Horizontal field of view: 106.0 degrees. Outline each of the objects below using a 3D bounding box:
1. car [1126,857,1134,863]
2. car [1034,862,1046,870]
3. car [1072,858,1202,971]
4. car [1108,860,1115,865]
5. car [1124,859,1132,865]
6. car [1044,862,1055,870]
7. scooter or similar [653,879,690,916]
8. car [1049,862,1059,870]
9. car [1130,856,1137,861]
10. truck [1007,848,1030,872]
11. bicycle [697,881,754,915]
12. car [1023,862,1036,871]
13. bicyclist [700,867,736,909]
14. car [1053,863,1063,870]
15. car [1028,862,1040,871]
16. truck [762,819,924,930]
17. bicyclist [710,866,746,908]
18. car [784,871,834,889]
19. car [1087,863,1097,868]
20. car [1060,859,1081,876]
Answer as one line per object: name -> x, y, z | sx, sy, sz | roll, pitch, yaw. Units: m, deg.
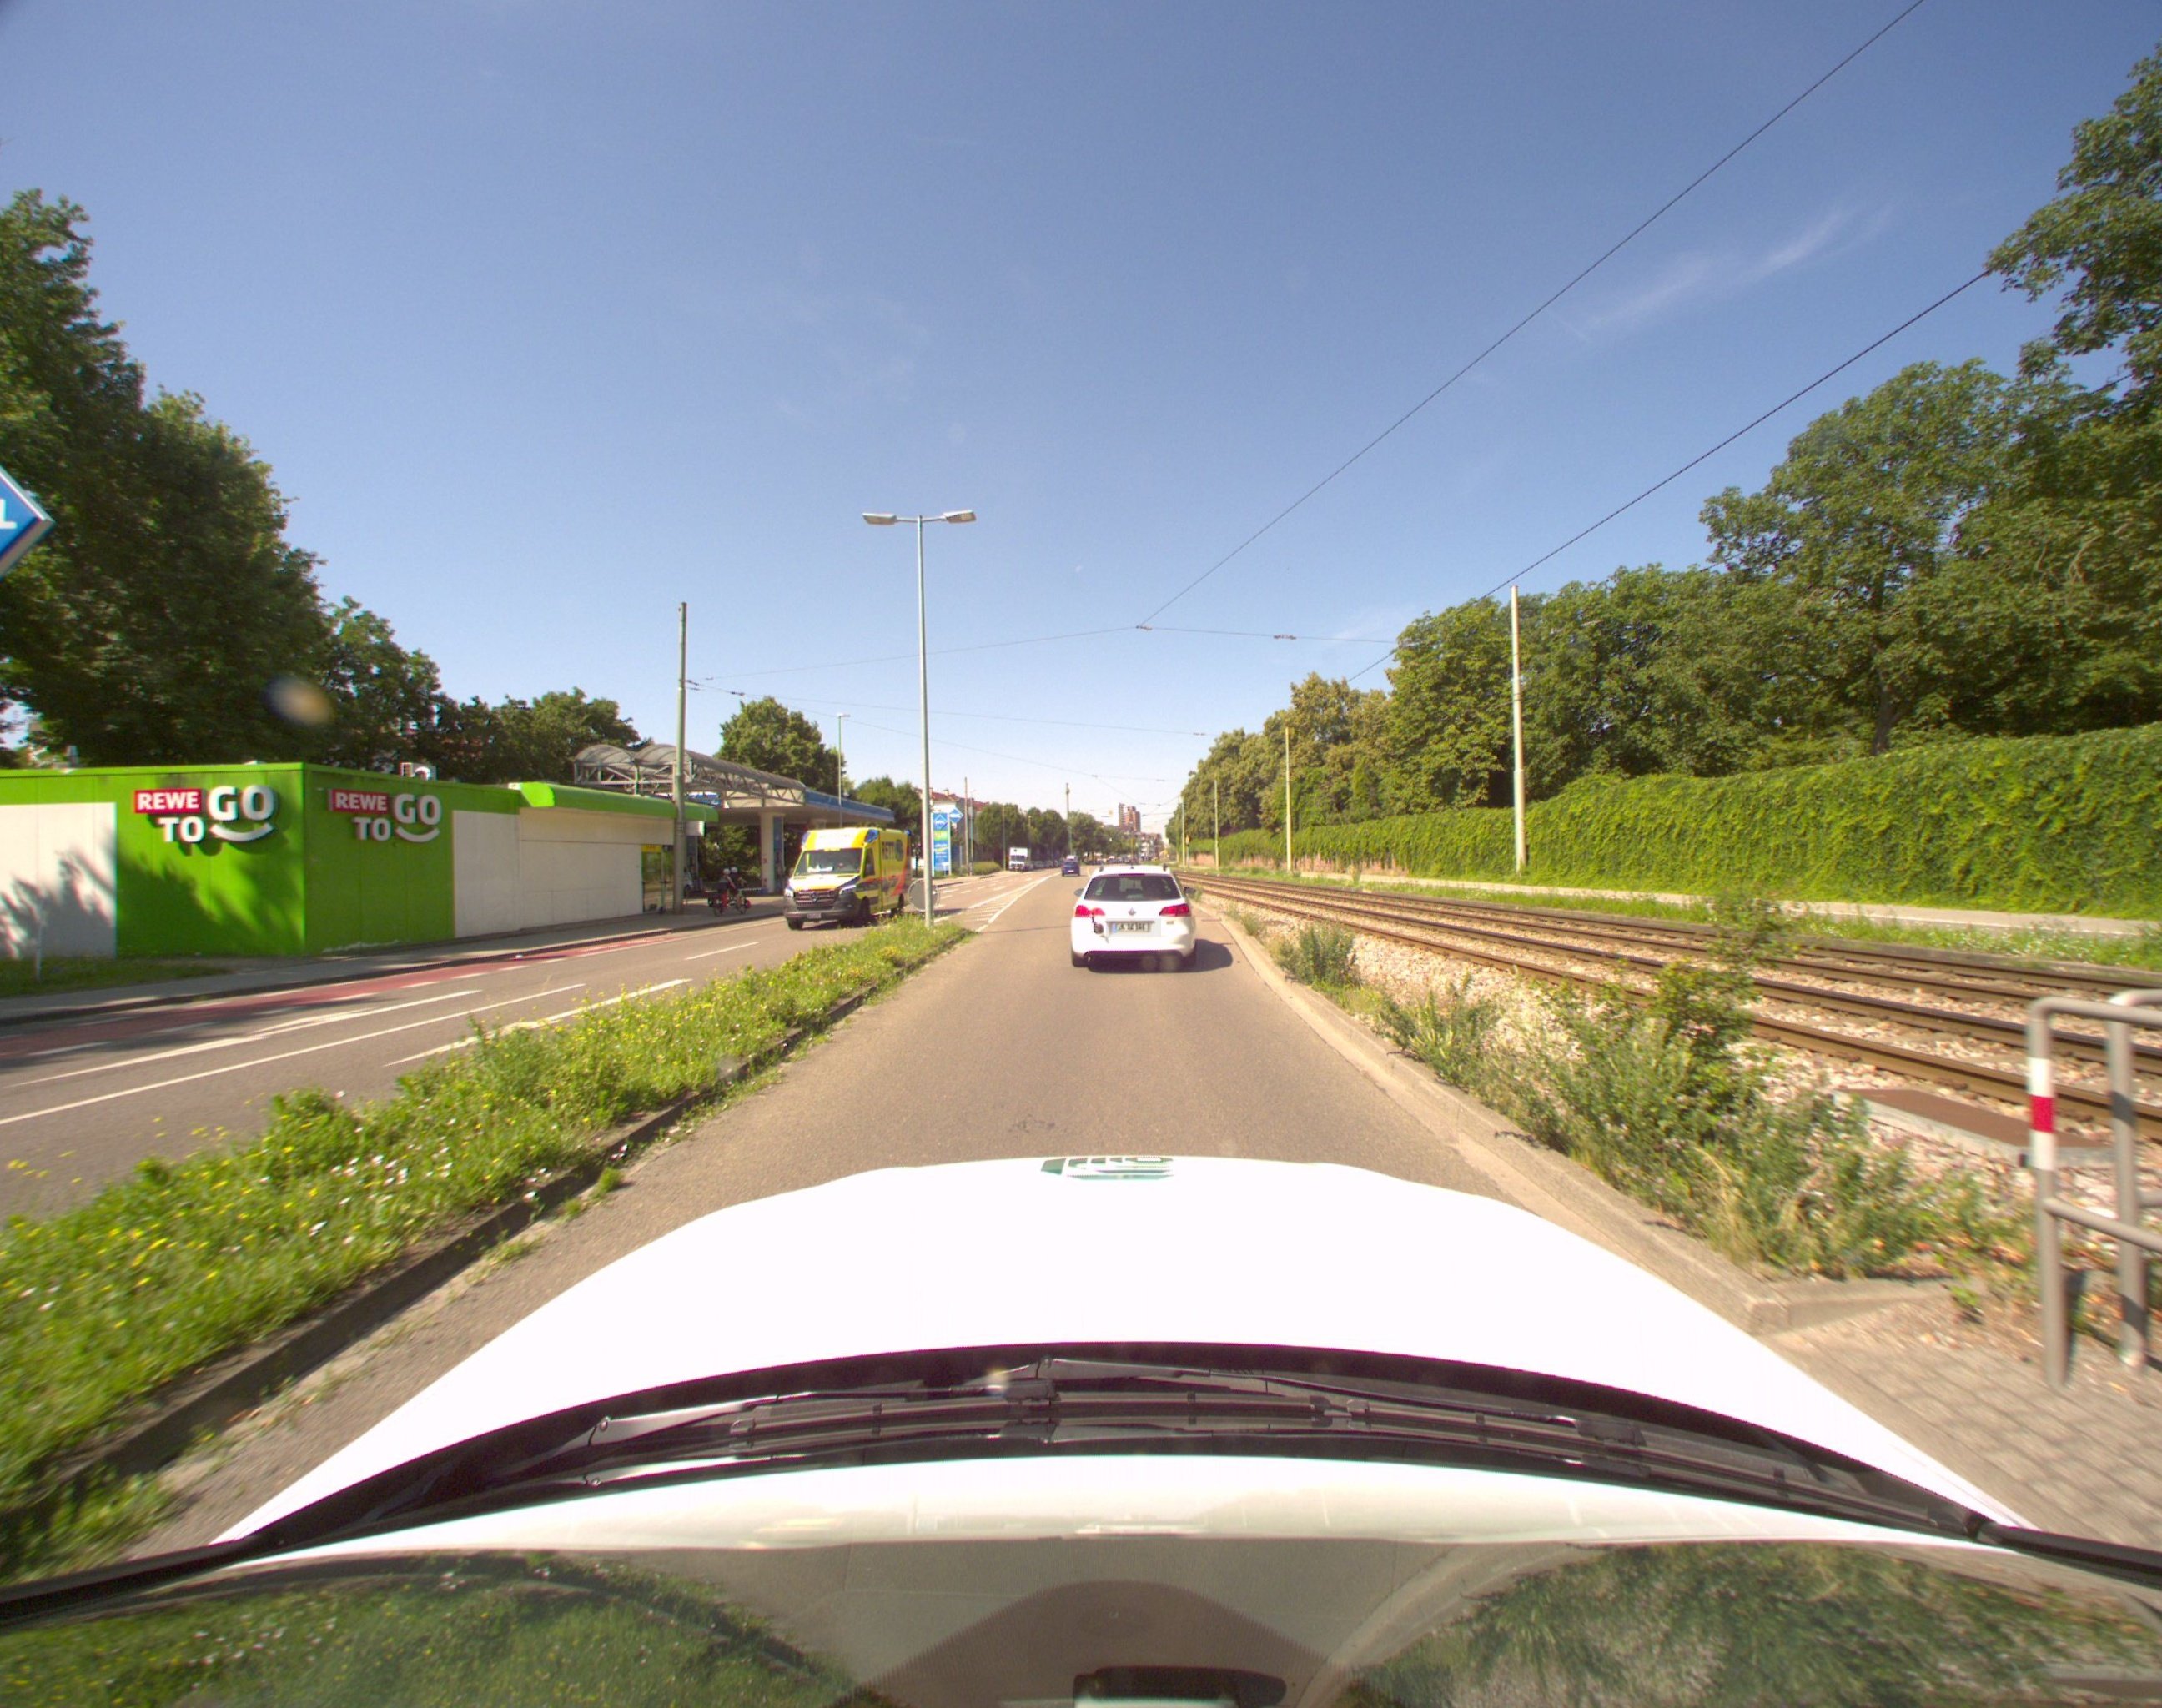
car -> 13.812, 1.690, 229.472 | 1.790, 1.460, 4.010 | -1, 0, 9
car -> -7.737, 2.291, 154.476 | 1.773, 1.483, 4.859 | 0, -1, 2
car -> 0.787, 0.803, 12.821 | 1.685, 1.451, 4.460 | -1, -1, 1
car -> 8.562, 2.372, 230.715 | 1.650, 1.420, 4.316 | -4, -1, 6
car -> 12.809, 2.173, 223.960 | 1.790, 1.507, 4.010 | -1, 0, 9
car -> -6.395, 2.512, 167.092 | 1.708, 1.625, 4.318 | 0, -1, 5
scooter or similar -> -14.592, 1.520, 29.040 | 0.438, 1.237, 1.349 | -2, 0, 10
car -> -5.702, 2.517, 172.603 | 1.761, 1.723, 4.875 | 0, -1, 4
car -> 15.335, 1.393, 237.046 | 1.790, 1.460, 4.009 | -2, -1, 8
truck -> -9.384, 0.934, 123.860 | 2.657, 3.530, 8.592 | 0, -1, 1
bicycle -> -12.795, 1.560, 29.425 | 0.822, 1.094, 2.772 | -2, 0, 0
car -> -8.594, 2.094, 136.143 | 1.751, 1.429, 4.282 | 0, -1, 1
bicyclist -> -12.833, 1.196, 28.827 | 0.843, 1.435, 0.833 | -1, 1, 4
car -> -5.046, 2.654, 178.056 | 1.681, 1.474, 4.056 | 1, -1, 7
car -> -8.291, 2.175, 143.839 | 1.724, 1.552, 4.320 | -1, -1, 2
truck -> -6.619, 0.532, 23.922 | 2.322, 2.668, 7.361 | -2, 0, 1
bicyclist -> -12.775, 1.181, 29.494 | 0.843, 1.436, 0.833 | -2, -1, 3
car -> -23.882, 2.283, 71.675 | 1.783, 1.346, 4.267 | -2, -1, 24
car -> 3.080, 3.176, 227.047 | 1.688, 1.417, 4.014 | -2, -1, 12
car -> -0.949, 1.253, 75.936 | 1.794, 1.507, 4.002 | -1, 0, 2
